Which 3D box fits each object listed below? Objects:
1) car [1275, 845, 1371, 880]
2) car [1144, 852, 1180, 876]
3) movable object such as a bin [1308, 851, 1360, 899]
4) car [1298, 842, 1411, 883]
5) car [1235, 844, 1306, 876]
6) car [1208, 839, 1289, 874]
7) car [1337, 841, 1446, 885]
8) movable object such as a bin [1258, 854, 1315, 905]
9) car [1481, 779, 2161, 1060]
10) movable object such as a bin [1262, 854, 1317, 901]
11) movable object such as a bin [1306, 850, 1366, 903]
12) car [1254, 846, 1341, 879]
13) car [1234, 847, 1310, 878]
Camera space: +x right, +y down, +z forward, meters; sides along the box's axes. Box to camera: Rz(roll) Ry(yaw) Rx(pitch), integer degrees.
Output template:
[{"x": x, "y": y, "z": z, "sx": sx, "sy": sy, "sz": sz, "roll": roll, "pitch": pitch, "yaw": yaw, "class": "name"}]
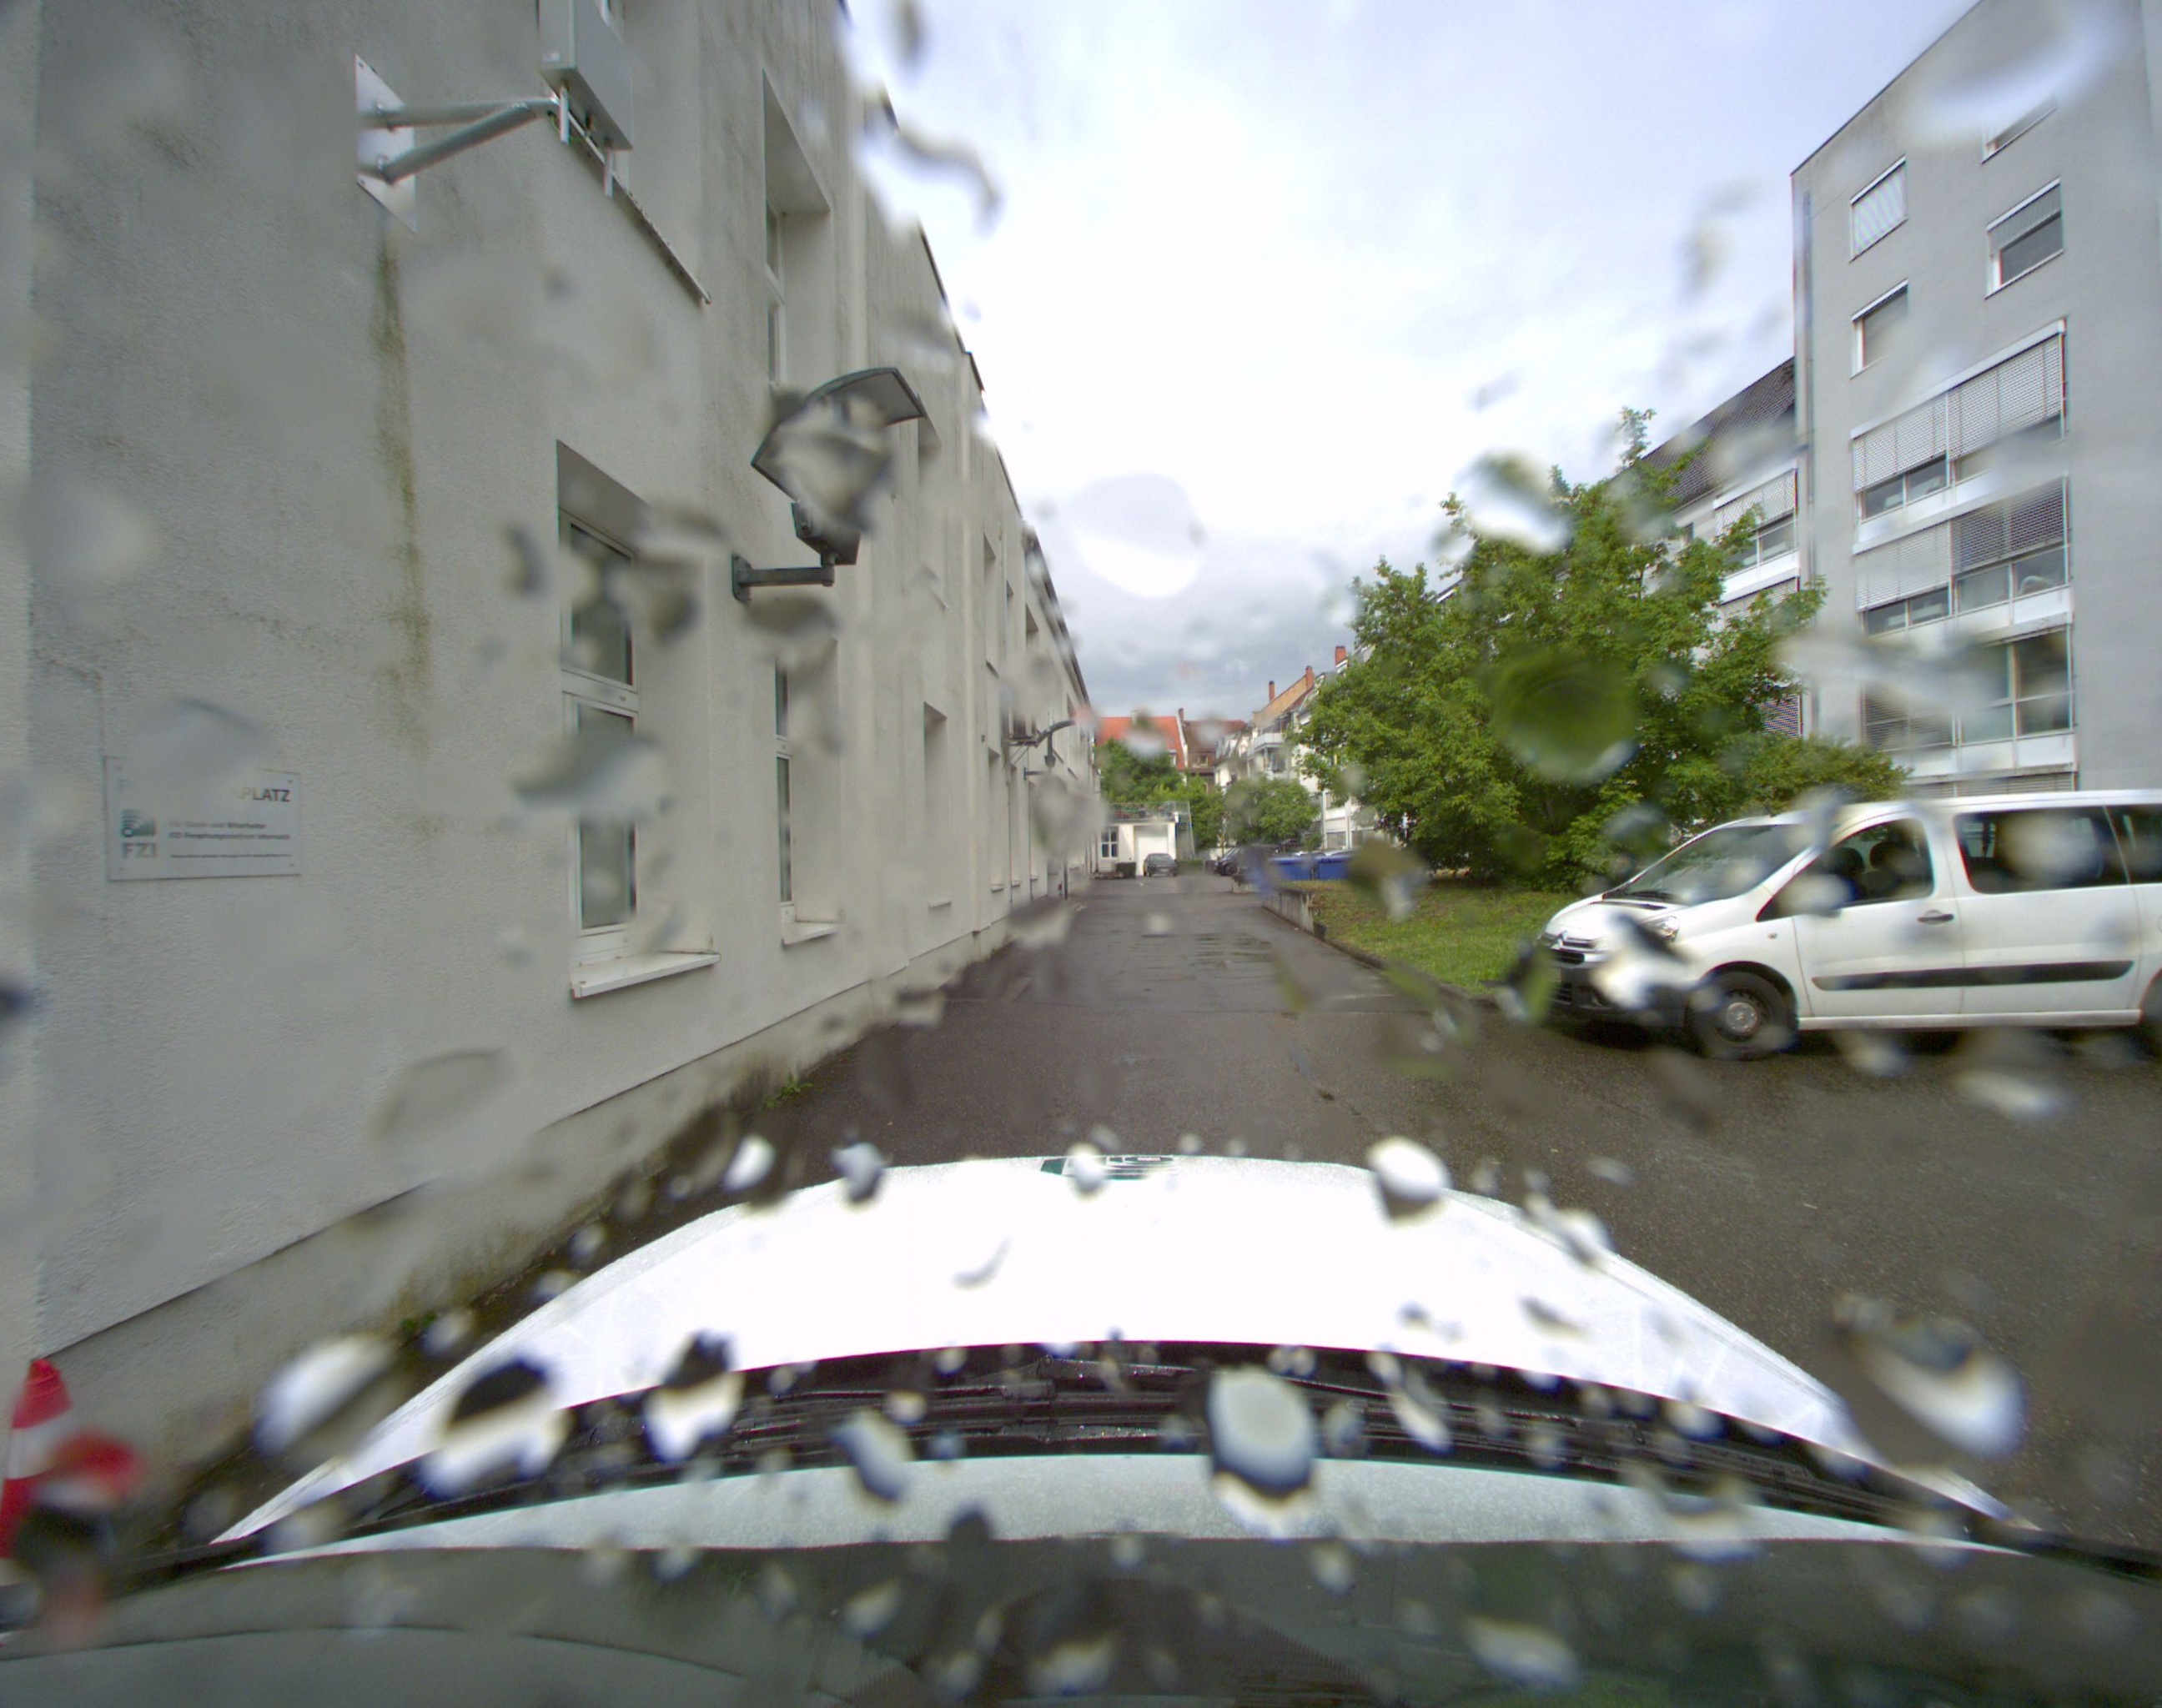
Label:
[{"x": 11.448, "y": 0.398, "z": 38.657, "sx": 3.977, "sy": 1.458, "sz": 1.772, "roll": -2, "pitch": 0, "yaw": -2, "class": "car"}, {"x": 5.176, "y": 0.631, "z": 52.435, "sx": 1.972, "sy": 1.444, "sz": 4.001, "roll": -1, "pitch": 0, "yaw": 1, "class": "car"}, {"x": 7.417, "y": 0.606, "z": 23.947, "sx": 1.180, "sy": 1.304, "sz": 1.108, "roll": -2, "pitch": 0, "yaw": 4, "class": "movable object such as a bin"}, {"x": 11.167, "y": 0.346, "z": 33.421, "sx": 3.974, "sy": 1.445, "sz": 1.806, "roll": -3, "pitch": 0, "yaw": 0, "class": "car"}, {"x": 11.496, "y": 0.362, "z": 49.678, "sx": 3.894, "sy": 1.687, "sz": 1.818, "roll": -3, "pitch": -1, "yaw": 1, "class": "car"}, {"x": 10.761, "y": 0.171, "z": 52.535, "sx": 4.631, "sy": 2.003, "sz": 2.220, "roll": -3, "pitch": 0, "yaw": -7, "class": "car"}, {"x": 11.542, "y": 0.333, "z": 30.440, "sx": 3.404, "sy": 1.427, "sz": 1.688, "roll": -3, "pitch": -1, "yaw": 0, "class": "car"}, {"x": 5.595, "y": 0.679, "z": 22.244, "sx": 1.331, "sy": 1.292, "sz": 1.097, "roll": -2, "pitch": 0, "yaw": 5, "class": "movable object such as a bin"}, {"x": 6.255, "y": 0.472, "z": 6.741, "sx": 4.850, "sy": 1.926, "sz": 2.102, "roll": -1, "pitch": -1, "yaw": 5, "class": "car"}, {"x": 6.123, "y": 0.669, "z": 23.991, "sx": 1.365, "sy": 1.304, "sz": 1.084, "roll": -2, "pitch": 0, "yaw": 5, "class": "movable object such as a bin"}, {"x": 6.930, "y": 0.600, "z": 22.232, "sx": 1.286, "sy": 1.336, "sz": 1.199, "roll": -2, "pitch": 0, "yaw": 5, "class": "movable object such as a bin"}, {"x": 11.127, "y": 0.433, "z": 41.985, "sx": 3.901, "sy": 1.513, "sz": 1.817, "roll": -3, "pitch": -1, "yaw": -4, "class": "car"}, {"x": 10.870, "y": 0.479, "z": 46.521, "sx": 3.899, "sy": 1.513, "sz": 1.751, "roll": -3, "pitch": -1, "yaw": -2, "class": "car"}]
